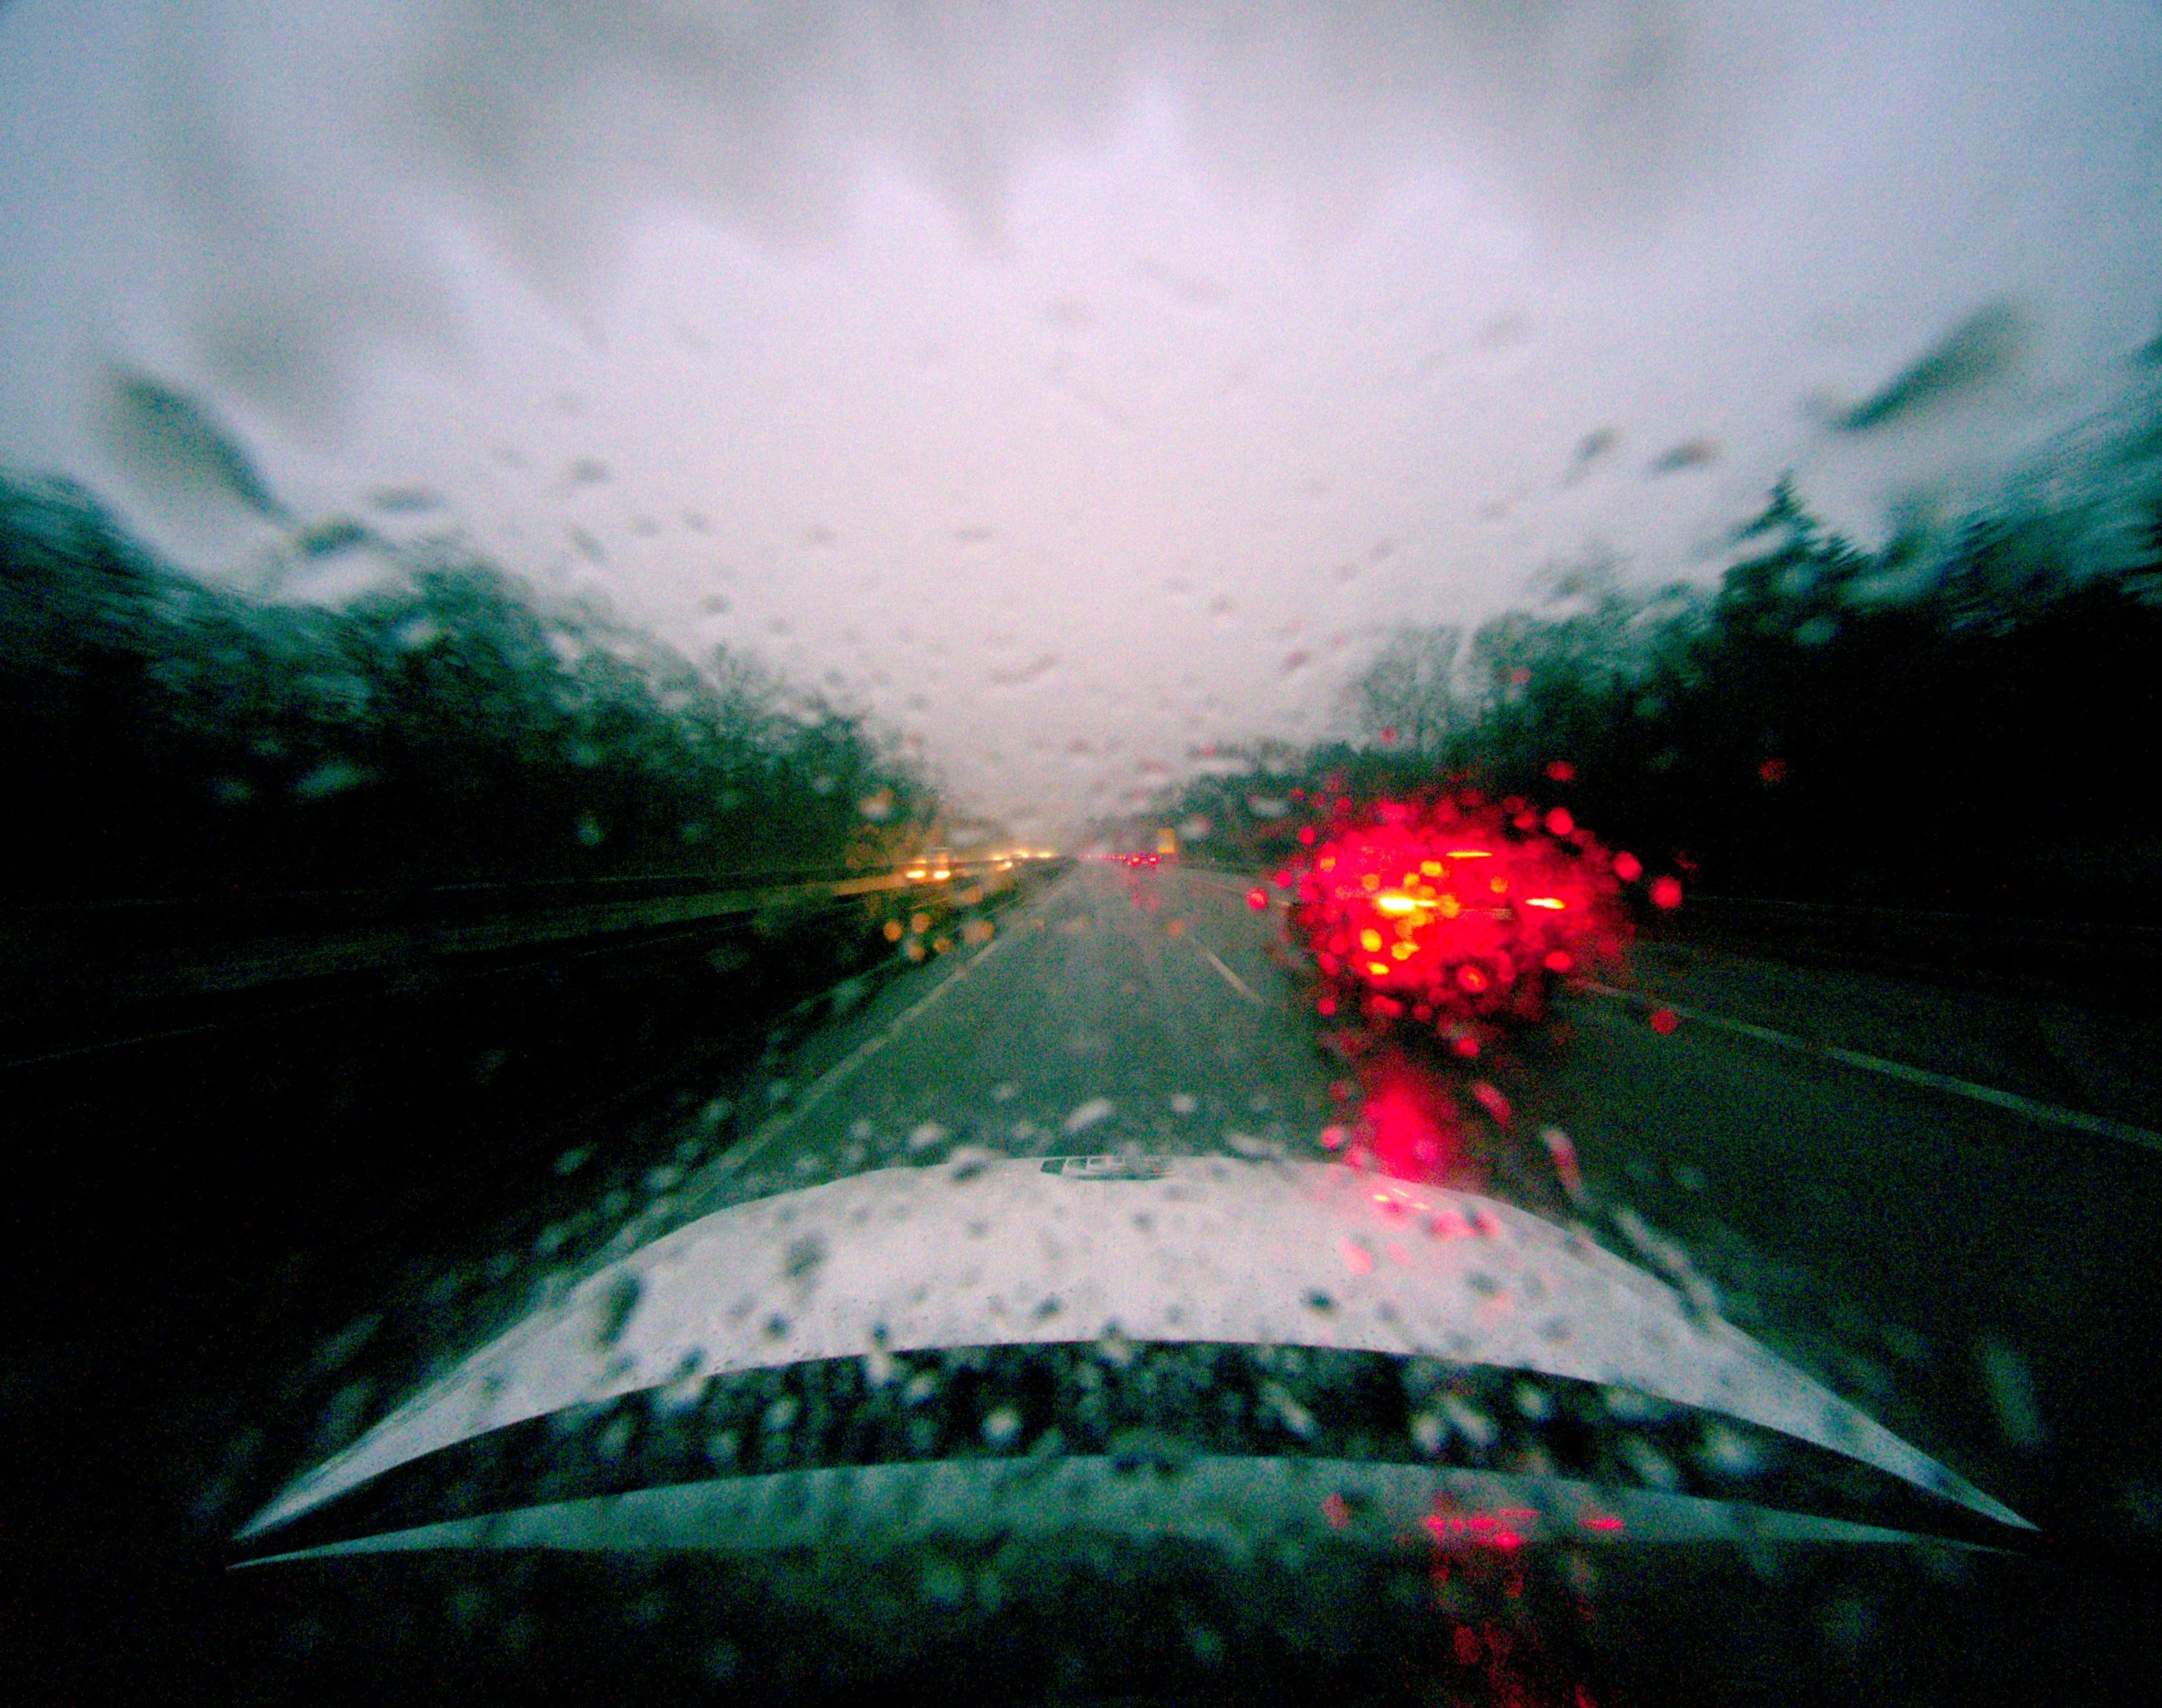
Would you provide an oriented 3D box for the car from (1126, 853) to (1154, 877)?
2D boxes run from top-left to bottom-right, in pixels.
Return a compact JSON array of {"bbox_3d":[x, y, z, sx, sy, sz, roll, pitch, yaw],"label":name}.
[{"bbox_3d":[4.440,0.822,61.769,1.984,1.715,3.831,0,-1,2],"label":"car"}]

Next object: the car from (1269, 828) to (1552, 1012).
[{"bbox_3d":[3.691,0.662,9.977,1.917,1.791,3.941,0,-1,1],"label":"car"}]

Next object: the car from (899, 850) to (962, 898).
[{"bbox_3d":[-6.546,0.856,35.933,1.736,1.956,4.819,0,-1,1],"label":"car"}]
